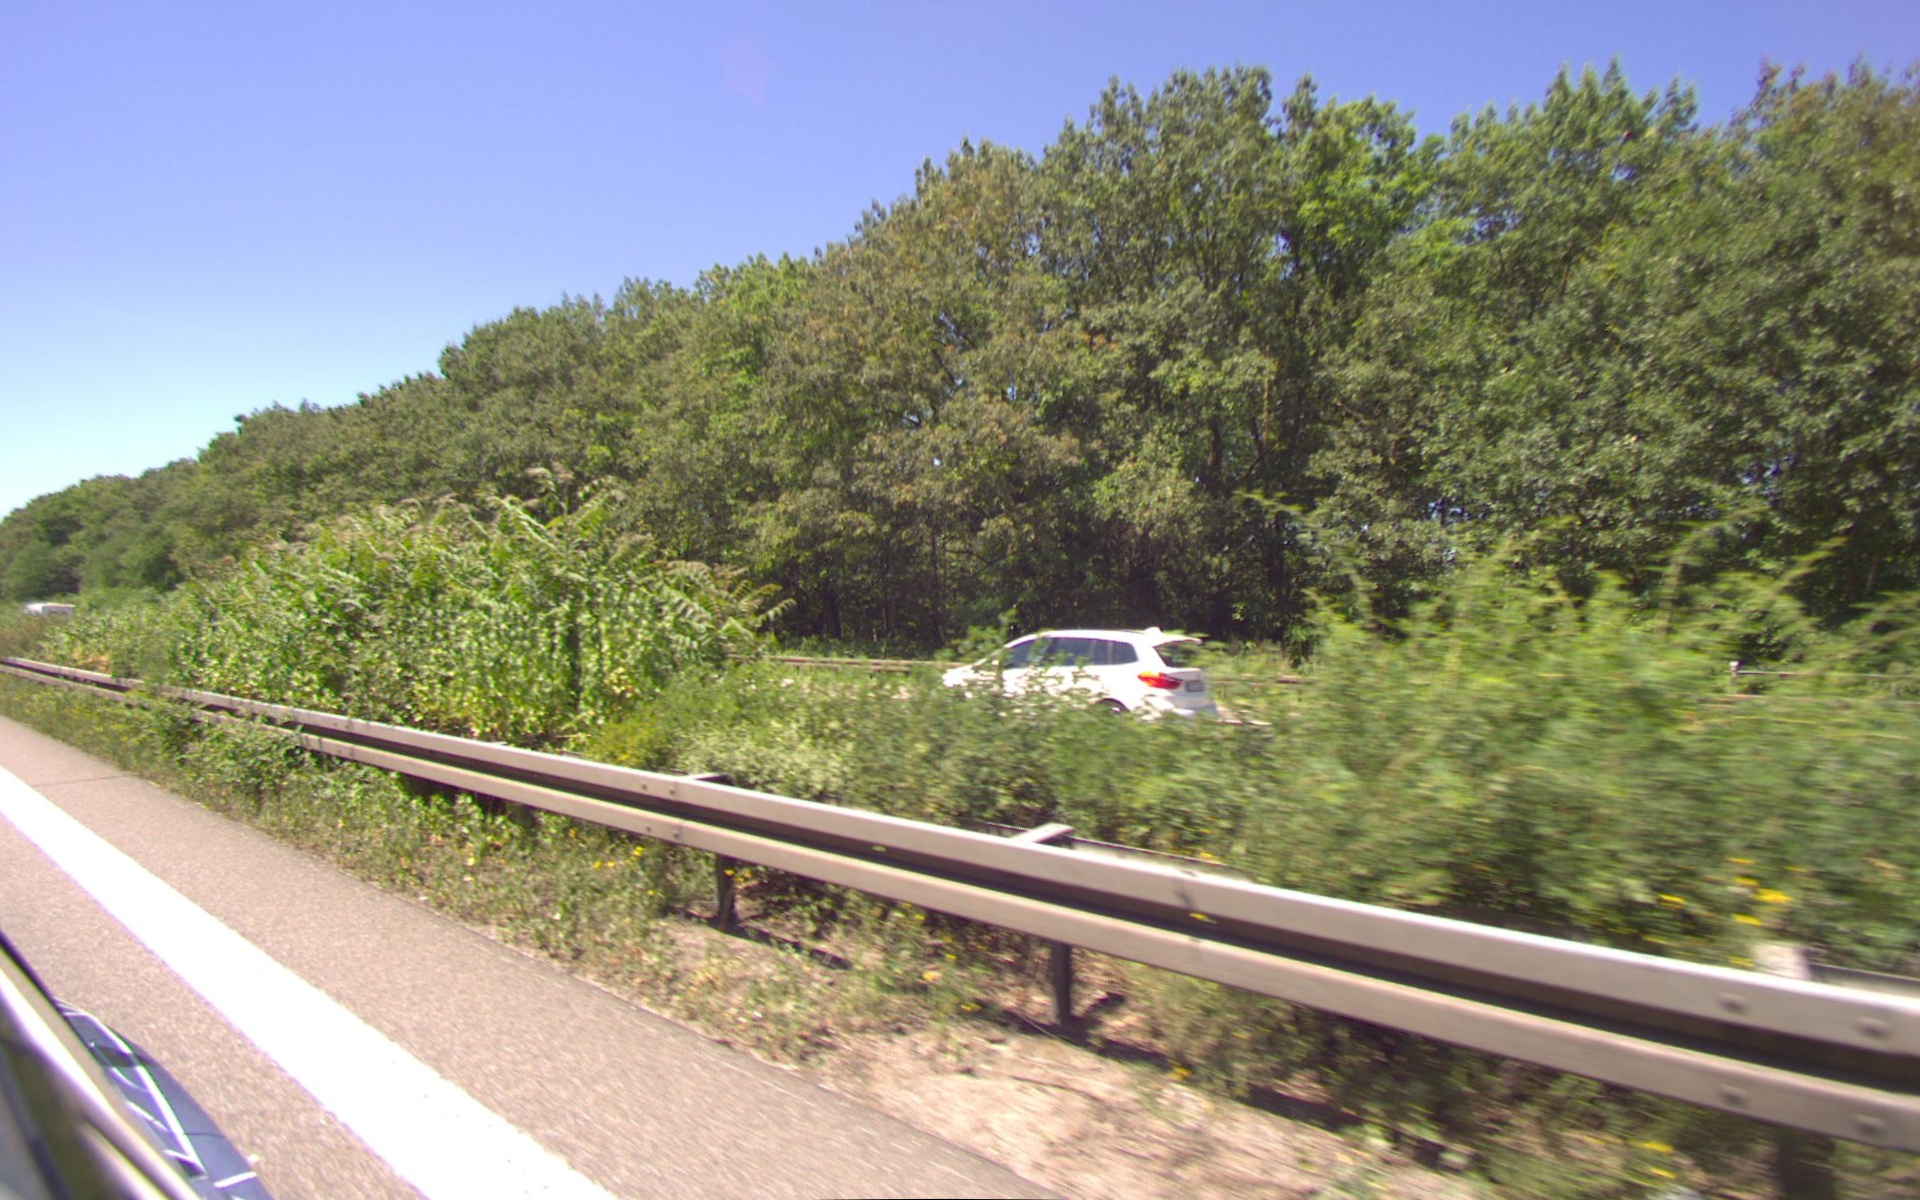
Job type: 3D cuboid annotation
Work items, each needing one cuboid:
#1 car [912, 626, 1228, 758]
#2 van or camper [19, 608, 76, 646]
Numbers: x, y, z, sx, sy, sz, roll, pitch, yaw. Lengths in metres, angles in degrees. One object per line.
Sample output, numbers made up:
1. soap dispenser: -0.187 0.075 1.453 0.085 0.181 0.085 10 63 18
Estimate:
1. car: 1.501 1.211 14.768 4.338 1.632 1.792 -1 -2 39
2. van or camper: -79.301 2.328 87.850 9.079 3.136 2.395 -1 -2 40
